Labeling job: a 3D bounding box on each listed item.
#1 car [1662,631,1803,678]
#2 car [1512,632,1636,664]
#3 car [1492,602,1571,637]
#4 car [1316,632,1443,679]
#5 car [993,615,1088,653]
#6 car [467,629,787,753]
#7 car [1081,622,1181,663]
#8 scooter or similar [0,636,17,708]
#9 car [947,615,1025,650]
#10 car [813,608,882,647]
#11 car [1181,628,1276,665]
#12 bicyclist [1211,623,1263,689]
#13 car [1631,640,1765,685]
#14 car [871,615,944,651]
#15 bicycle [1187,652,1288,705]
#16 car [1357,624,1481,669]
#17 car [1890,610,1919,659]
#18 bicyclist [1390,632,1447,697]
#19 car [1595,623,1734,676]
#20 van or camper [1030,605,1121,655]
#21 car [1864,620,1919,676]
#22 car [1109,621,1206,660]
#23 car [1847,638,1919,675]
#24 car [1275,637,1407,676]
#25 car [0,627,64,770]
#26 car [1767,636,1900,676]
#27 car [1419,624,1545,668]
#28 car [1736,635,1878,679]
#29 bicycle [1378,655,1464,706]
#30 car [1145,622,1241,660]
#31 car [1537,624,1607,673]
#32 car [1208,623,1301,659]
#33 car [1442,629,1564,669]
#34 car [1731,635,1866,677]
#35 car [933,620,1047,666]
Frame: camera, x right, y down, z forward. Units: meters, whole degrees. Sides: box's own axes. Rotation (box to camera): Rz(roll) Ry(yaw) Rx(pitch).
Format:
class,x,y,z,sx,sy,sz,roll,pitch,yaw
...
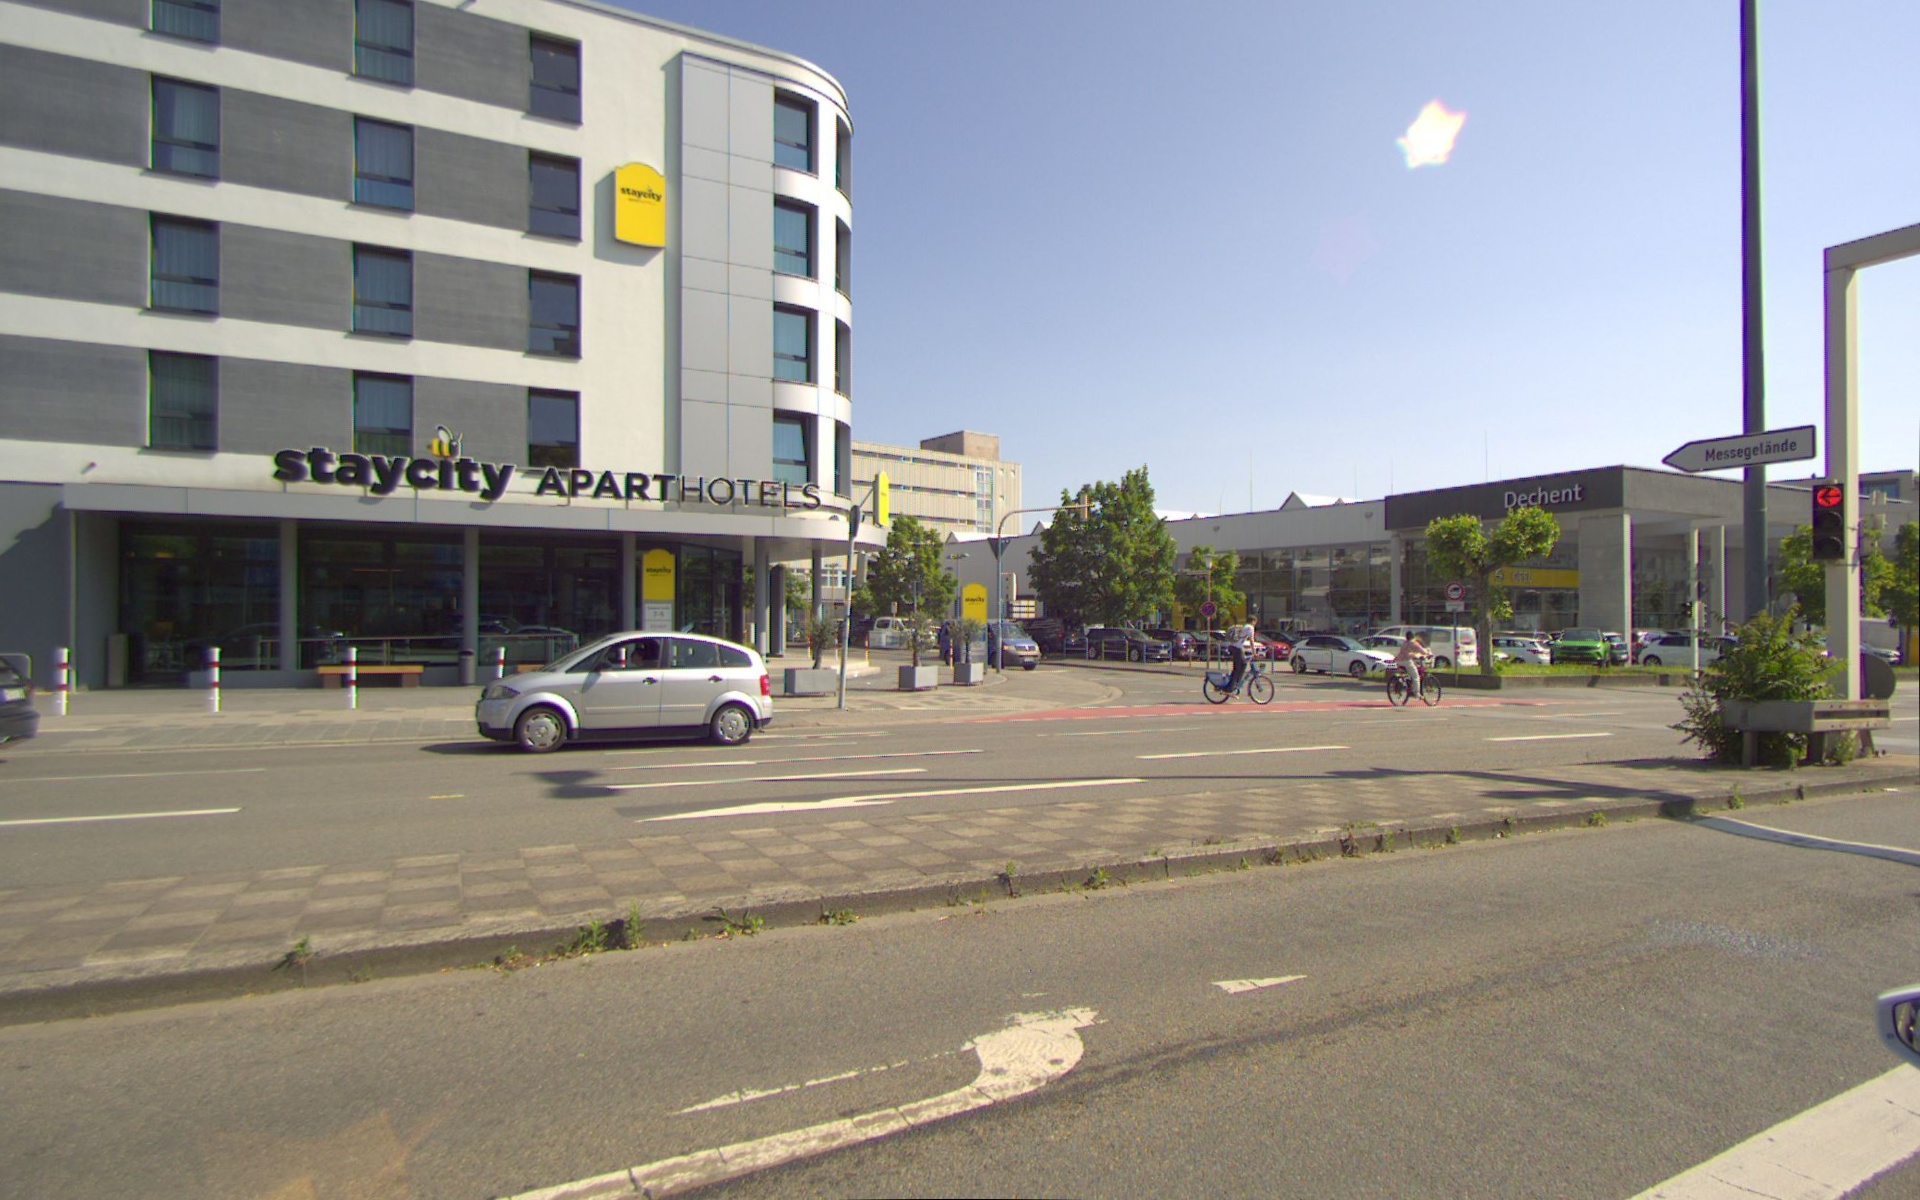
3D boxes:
class,x,y,z,sx,sy,sz,roll,pitch,yaw
car,32.034,2.222,41.773,1.977,1.789,4.276,2,-2,-31
car,27.201,2.116,44.607,1.981,1.284,4.327,4,-4,-36
car,36.702,1.217,64.578,1.979,2.040,3.964,3,0,-32
car,16.621,2.167,40.012,1.979,1.719,4.330,2,-2,-34
car,3.922,1.651,49.211,4.306,1.719,1.990,0,-2,41
car,-4.474,1.163,13.553,3.866,1.457,1.765,2,-3,-28
car,7.587,1.870,44.972,1.979,1.719,4.330,2,-2,-34
scooter or similar,-16.013,1.127,15.896,1.498,1.127,0.350,3,-1,-27
car,1.427,1.807,55.791,3.943,1.710,1.990,2,-2,43
car,-7.037,1.694,62.568,1.984,2.158,4.567,3,0,-40
car,13.309,2.294,50.027,1.979,1.719,4.330,2,-2,-34
bicyclist,6.349,1.269,23.070,1.006,1.479,0.771,1,-1,5
car,29.679,2.495,40.497,1.980,1.620,3.961,2,-2,-35
car,-3.096,1.904,58.381,1.970,1.815,4.378,3,0,-40
bicycle,6.352,1.786,23.064,2.118,1.131,0.771,1,-1,5
car,19.073,1.908,41.907,1.982,1.719,4.325,2,-2,-37
car,52.781,1.870,53.494,1.972,2.635,4.347,2,-1,-23
bicyclist,10.744,1.498,23.539,1.015,1.479,0.764,2,-2,-31
car,26.423,1.828,37.780,1.977,1.862,3.851,2,-2,-31
van or camper,5.906,1.536,51.849,1.982,2.432,4.680,2,-2,-37
car,48.463,2.407,50.196,2.096,2.719,4.492,1,-1,-19
car,9.219,1.869,47.170,1.979,1.719,4.330,2,-2,-34
car,46.451,2.744,49.011,1.972,1.719,4.347,2,-2,-23
car,14.254,2.091,37.764,1.979,1.317,4.330,2,-2,-34
car,-12.011,0.956,9.761,4.528,1.446,1.948,2,-3,-28
car,40.965,2.587,47.204,1.977,1.719,4.335,2,-2,-31
car,22.008,1.908,42.494,1.982,1.719,4.325,2,-2,-37
car,36.752,2.436,43.707,1.977,1.719,4.335,2,-1,-30
bicycle,10.836,1.870,23.591,2.137,1.131,0.764,2,-2,-31
car,11.153,1.965,48.293,1.979,1.719,4.330,2,-2,-34
car,23.182,1.838,38.151,1.870,1.756,3.293,0,-3,25
car,15.083,2.082,51.617,1.981,1.719,4.326,2,-2,-36
car,23.879,2.122,44.299,1.981,1.612,4.327,2,-2,-36
car,38.141,2.508,45.789,1.977,1.719,4.335,2,-2,-31
car,1.133,1.677,40.221,1.983,1.737,4.775,2,-2,-39
